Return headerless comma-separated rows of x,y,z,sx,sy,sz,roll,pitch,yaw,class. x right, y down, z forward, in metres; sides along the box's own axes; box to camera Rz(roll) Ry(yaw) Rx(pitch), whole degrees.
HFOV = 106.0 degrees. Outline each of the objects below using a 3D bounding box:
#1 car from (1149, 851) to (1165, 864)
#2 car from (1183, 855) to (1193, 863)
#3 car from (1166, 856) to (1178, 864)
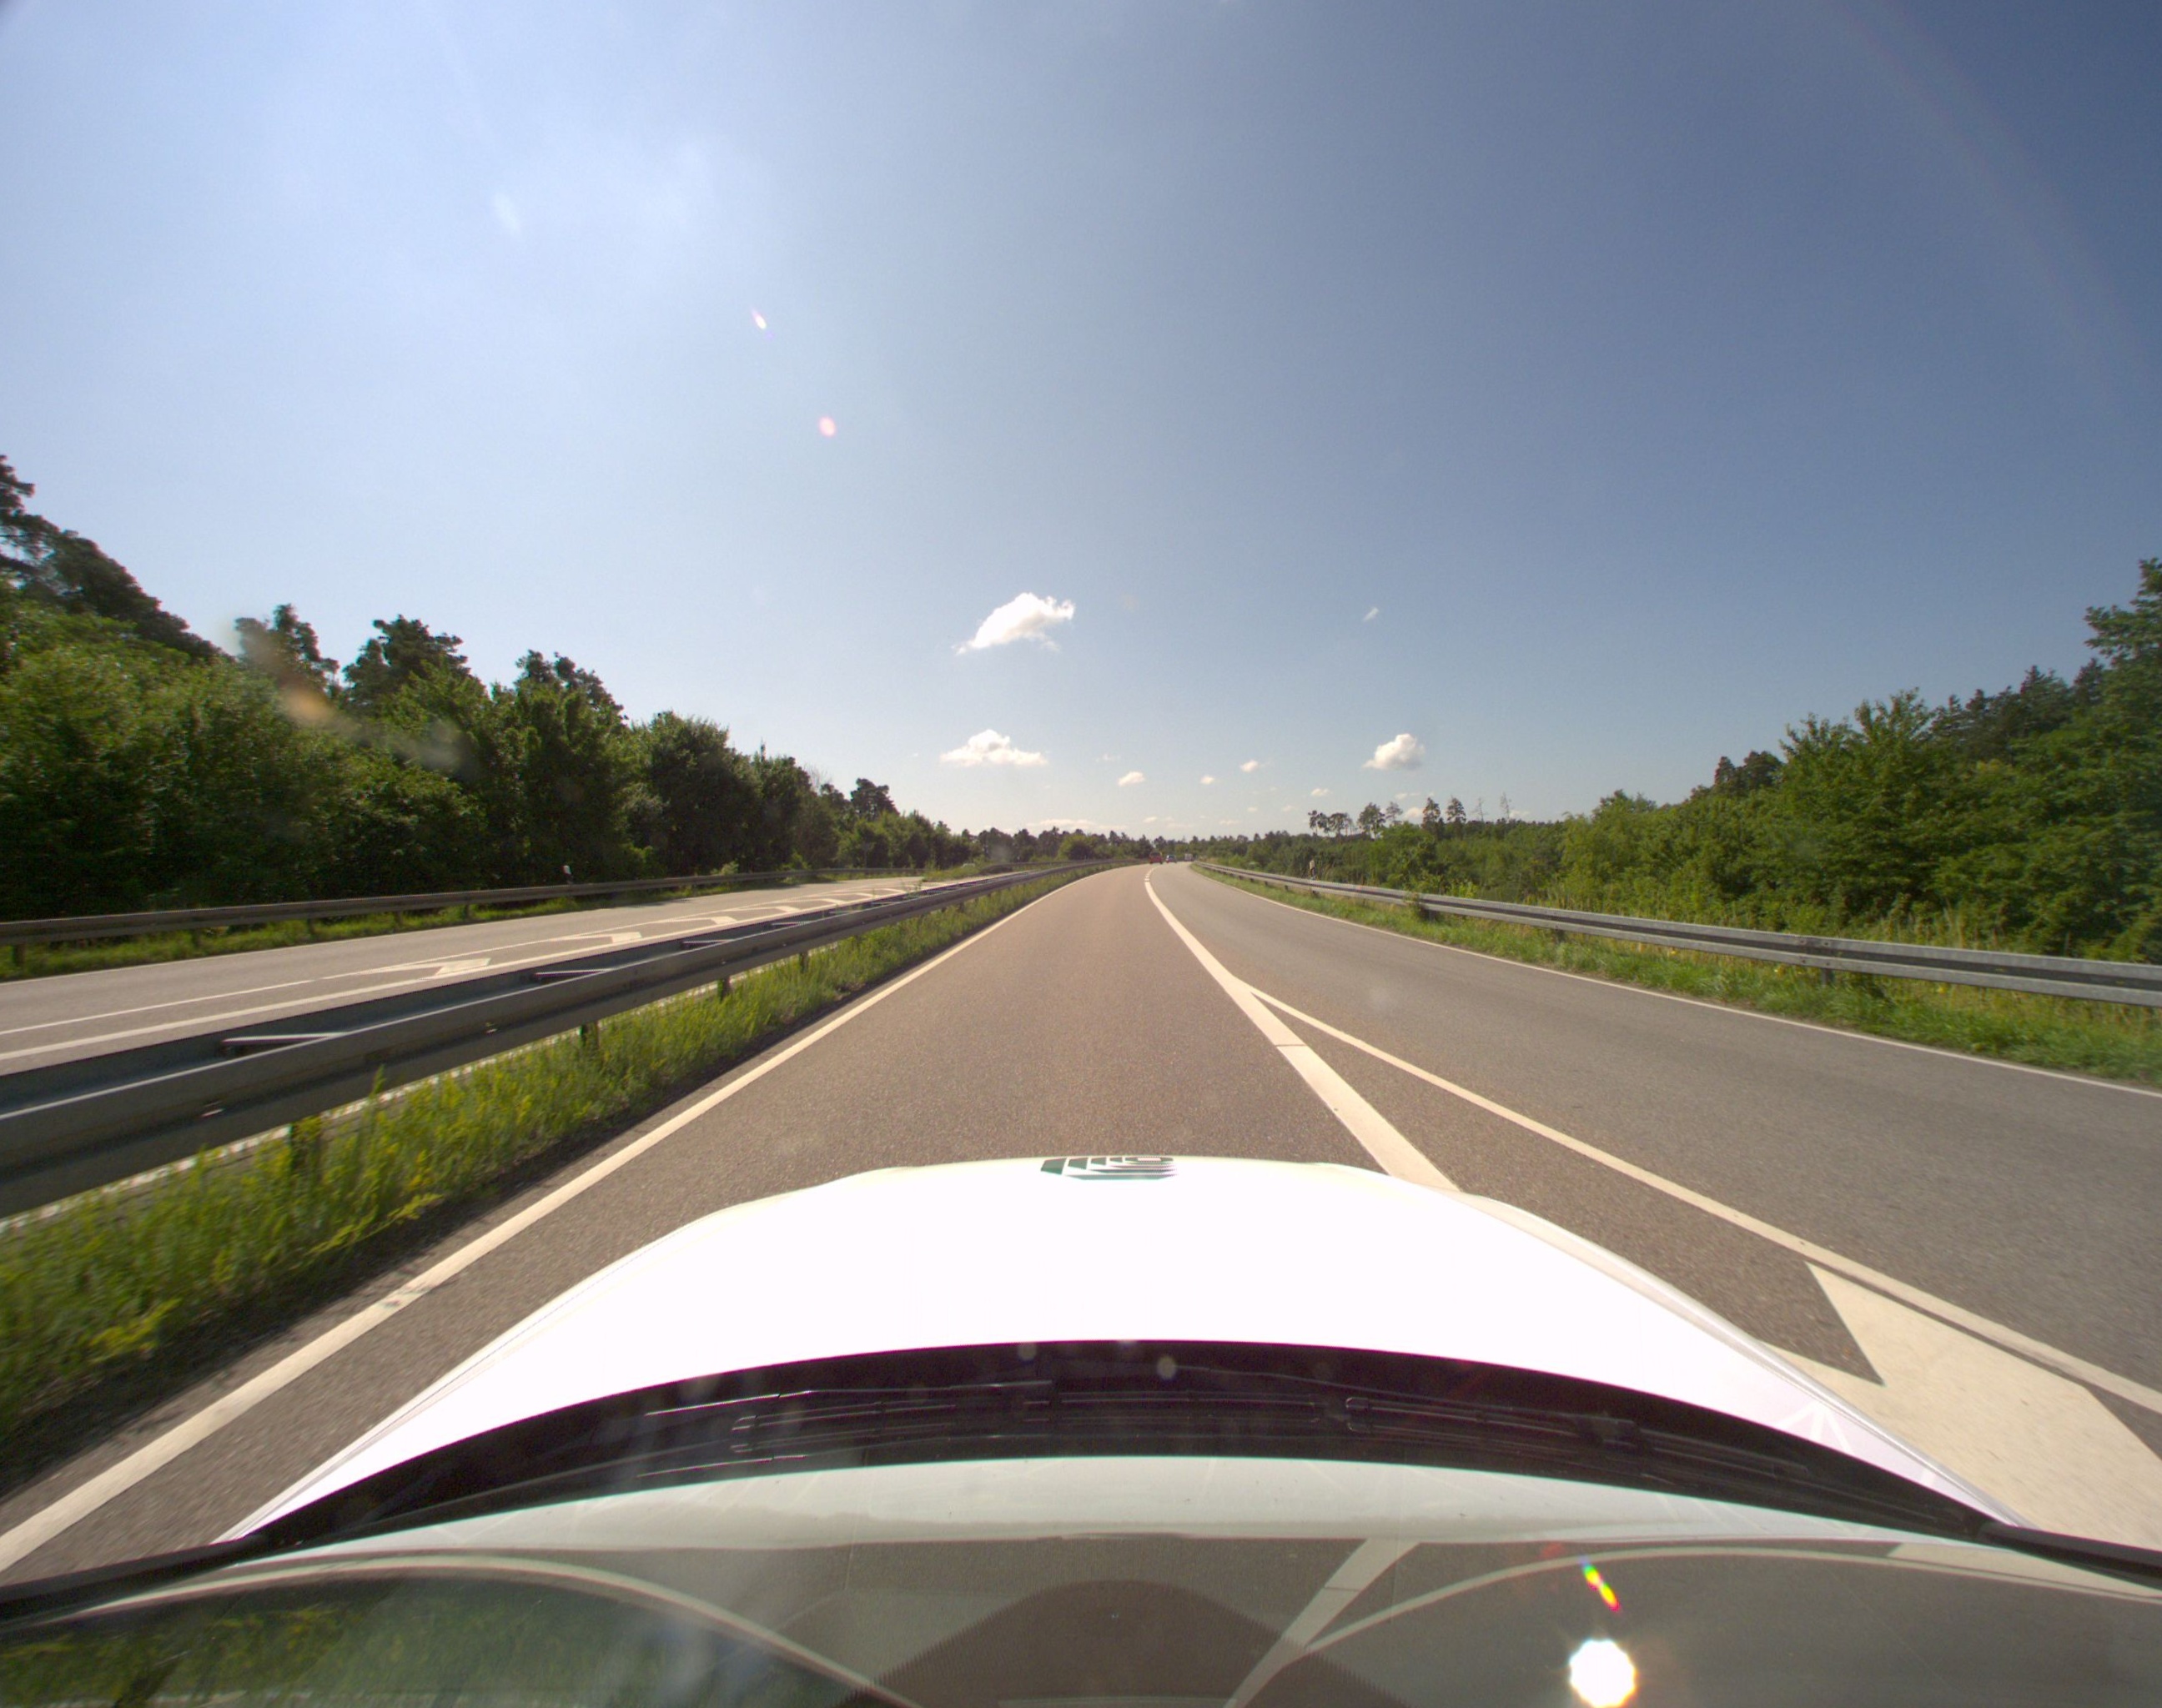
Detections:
12.017,0.613,128.539,2.065,1.993,5.124,0,-1,9,car
26.471,1.358,201.640,2.172,1.955,5.818,0,-1,9,car
16.858,1.164,150.494,1.995,1.494,4.249,0,-1,9,car
